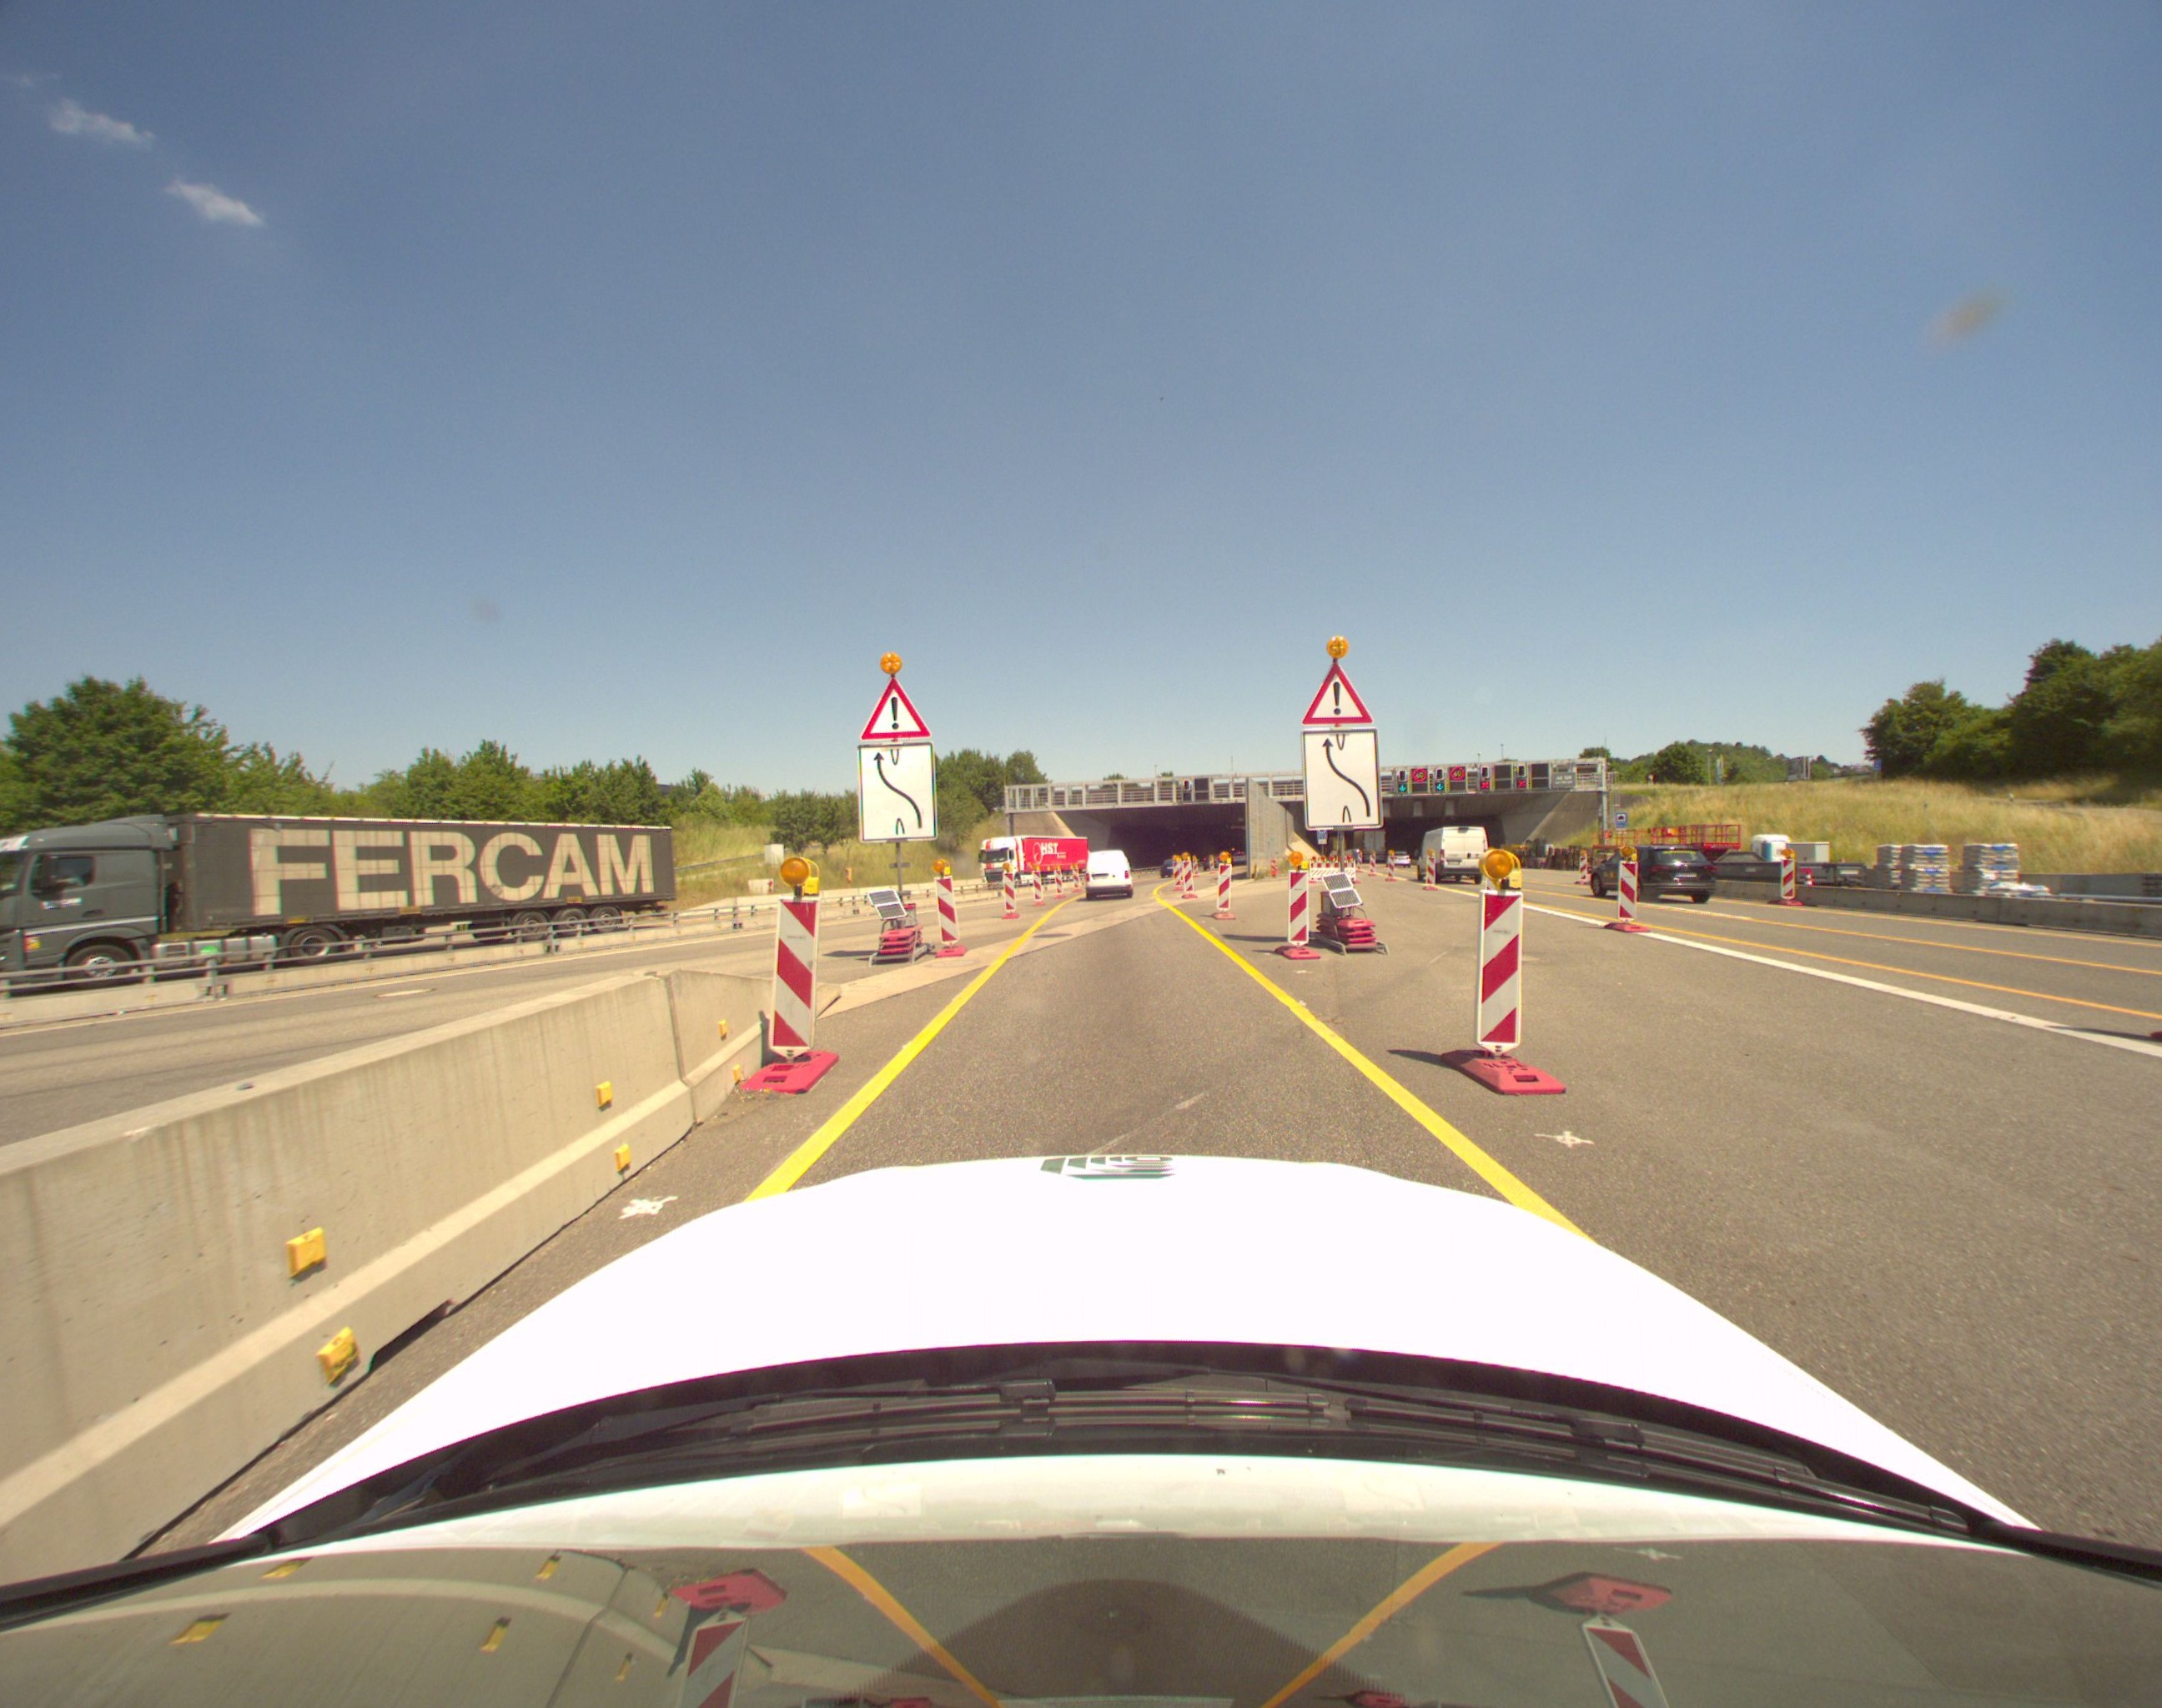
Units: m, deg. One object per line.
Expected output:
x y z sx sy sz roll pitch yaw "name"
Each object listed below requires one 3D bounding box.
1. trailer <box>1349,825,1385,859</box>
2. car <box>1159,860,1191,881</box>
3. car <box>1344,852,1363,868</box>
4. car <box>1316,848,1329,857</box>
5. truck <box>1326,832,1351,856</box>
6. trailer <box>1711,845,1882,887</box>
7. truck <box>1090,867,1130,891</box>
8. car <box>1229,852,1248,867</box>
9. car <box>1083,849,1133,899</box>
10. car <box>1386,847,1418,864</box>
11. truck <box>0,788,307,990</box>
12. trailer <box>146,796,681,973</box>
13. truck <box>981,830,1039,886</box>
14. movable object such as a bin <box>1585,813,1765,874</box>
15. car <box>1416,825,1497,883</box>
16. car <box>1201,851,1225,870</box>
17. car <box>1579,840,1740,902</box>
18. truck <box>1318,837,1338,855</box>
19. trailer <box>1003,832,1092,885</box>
36.622 -1.374 104.665 2.714 4.062 14.142 0 -1 12 "trailer"
7.416 1.255 63.967 1.795 1.537 4.427 -2 -1 15 "car"
29.174 0.682 87.263 1.801 1.642 4.672 0 -1 16 "car"
45.090 -0.358 151.848 1.804 1.630 4.200 0 -1 9 "car"
52.665 -1.984 167.113 3.379 4.335 16.589 0 -1 12 "truck"
30.937 0.498 35.611 2.580 1.569 6.250 -3 -1 8 "trailer"
2.613 2.193 72.930 1.976 1.873 4.787 -3 0 22 "truck"
19.222 0.680 99.390 1.795 1.751 4.428 -2 -1 16 "car"
1.095 0.751 31.732 1.801 1.794 3.734 -2 -1 3 "car"
29.368 0.145 74.578 1.804 1.464 4.665 0 -1 10 "car"
-22.683 0.769 19.880 2.410 4.270 4.865 -2 -1 23 "truck"
-19.845 0.750 26.575 2.414 4.297 13.885 -2 -1 23 "trailer"
-5.440 0.326 63.221 2.314 4.108 5.043 -3 -1 21 "truck"
35.625 -0.499 49.993 3.090 3.011 14.749 -3 -1 12 "movable object such as a bin"
17.895 0.013 39.171 2.250 2.536 6.608 -1 -1 13 "car"
13.452 0.649 82.625 1.795 1.815 4.428 -2 -1 16 "car"
17.287 0.492 24.732 2.006 1.662 5.253 -1 -1 11 "car"
62.637 -1.921 206.674 3.379 4.071 16.590 0 -1 12 "truck"
-2.590 0.339 70.481 2.317 4.102 13.331 -3 -1 22 "trailer"
